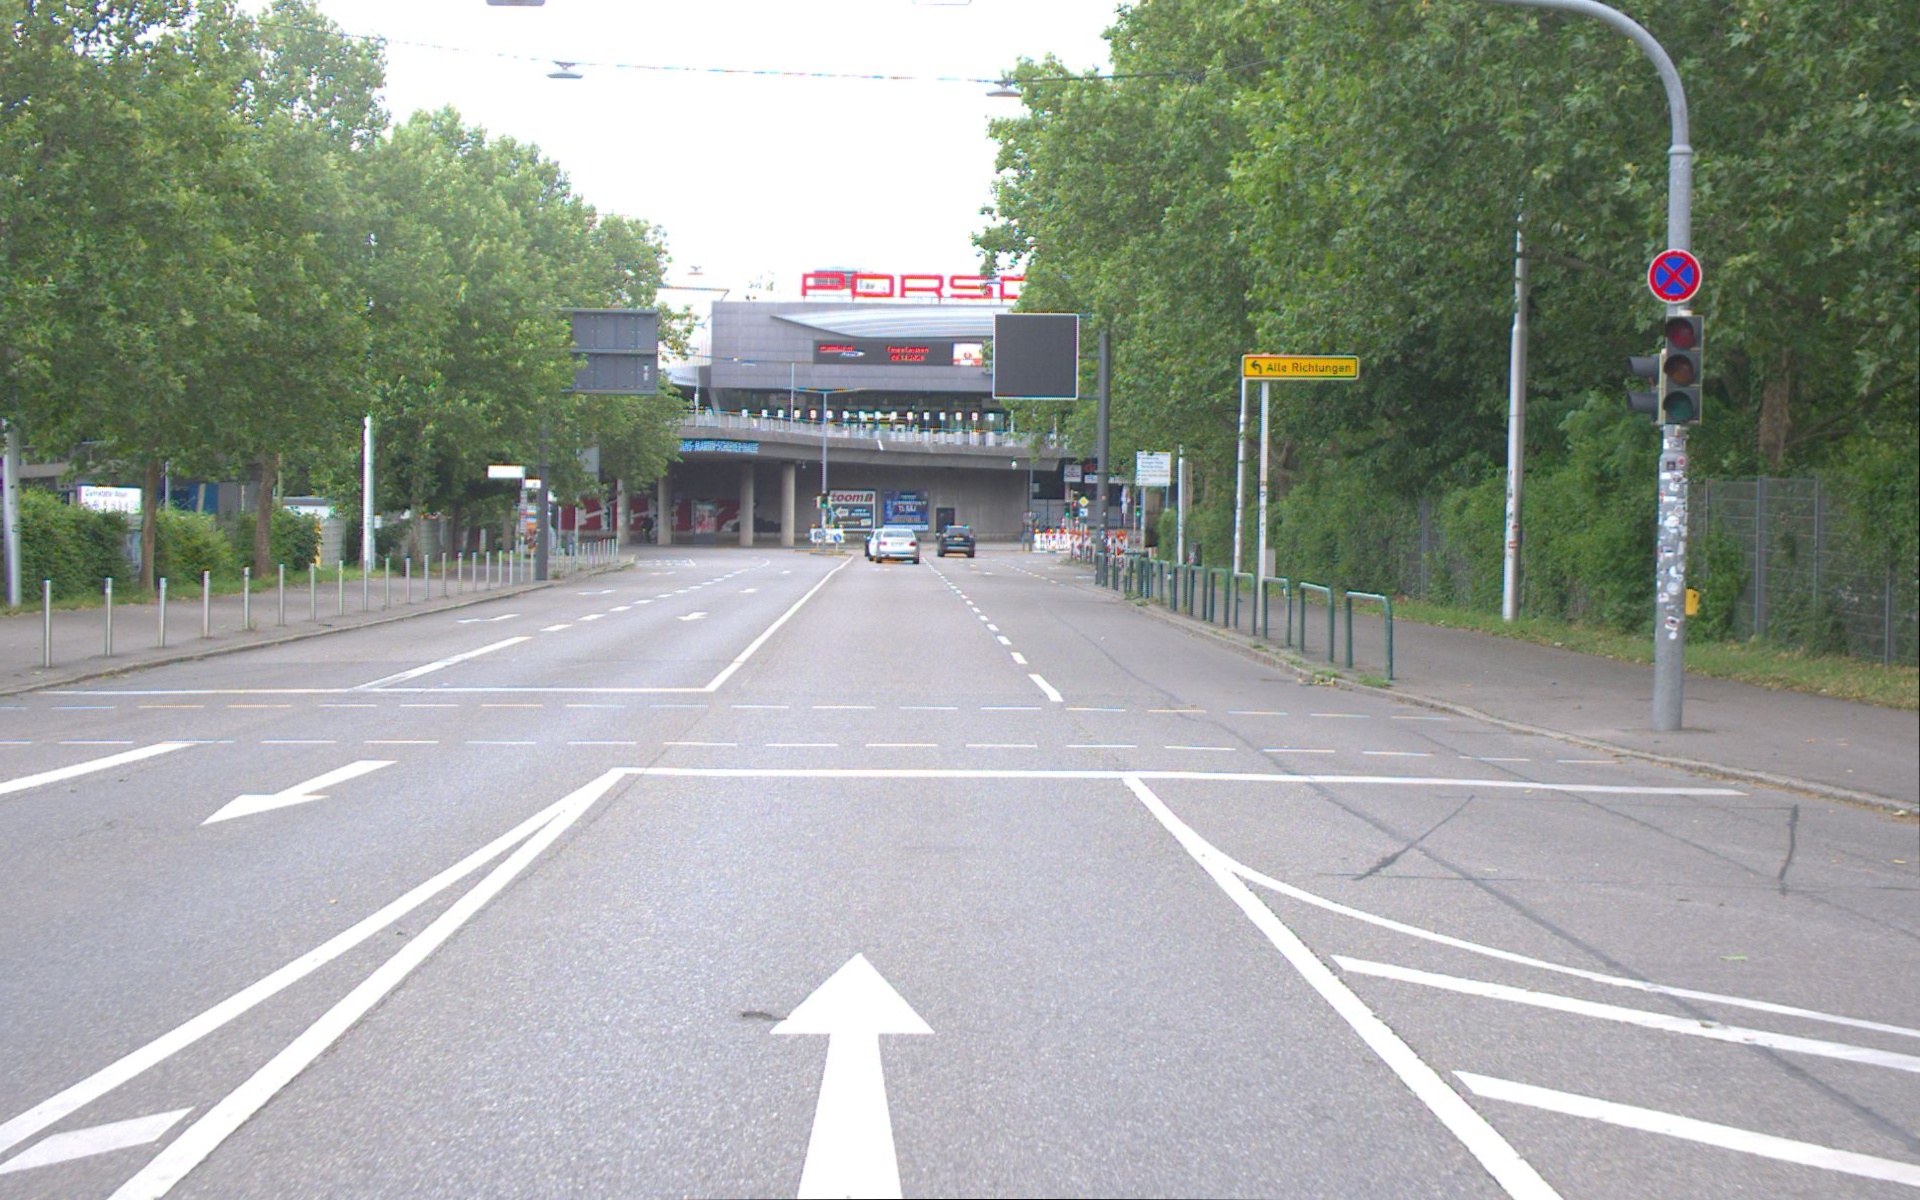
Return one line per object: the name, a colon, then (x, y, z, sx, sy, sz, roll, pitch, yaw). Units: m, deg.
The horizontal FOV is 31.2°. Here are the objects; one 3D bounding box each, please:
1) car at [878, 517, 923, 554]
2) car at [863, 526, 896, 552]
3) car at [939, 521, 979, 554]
car: (-2.501, -2.733, 145.592, 1.778, 1.455, 3.822, 3, 1, 0)
car: (-3.619, -2.751, 154.868, 1.411, 1.109, 3.038, 2, 1, -1)
car: (-0.053, -3.301, 180.926, 2.007, 1.693, 4.070, 1, 1, 0)
